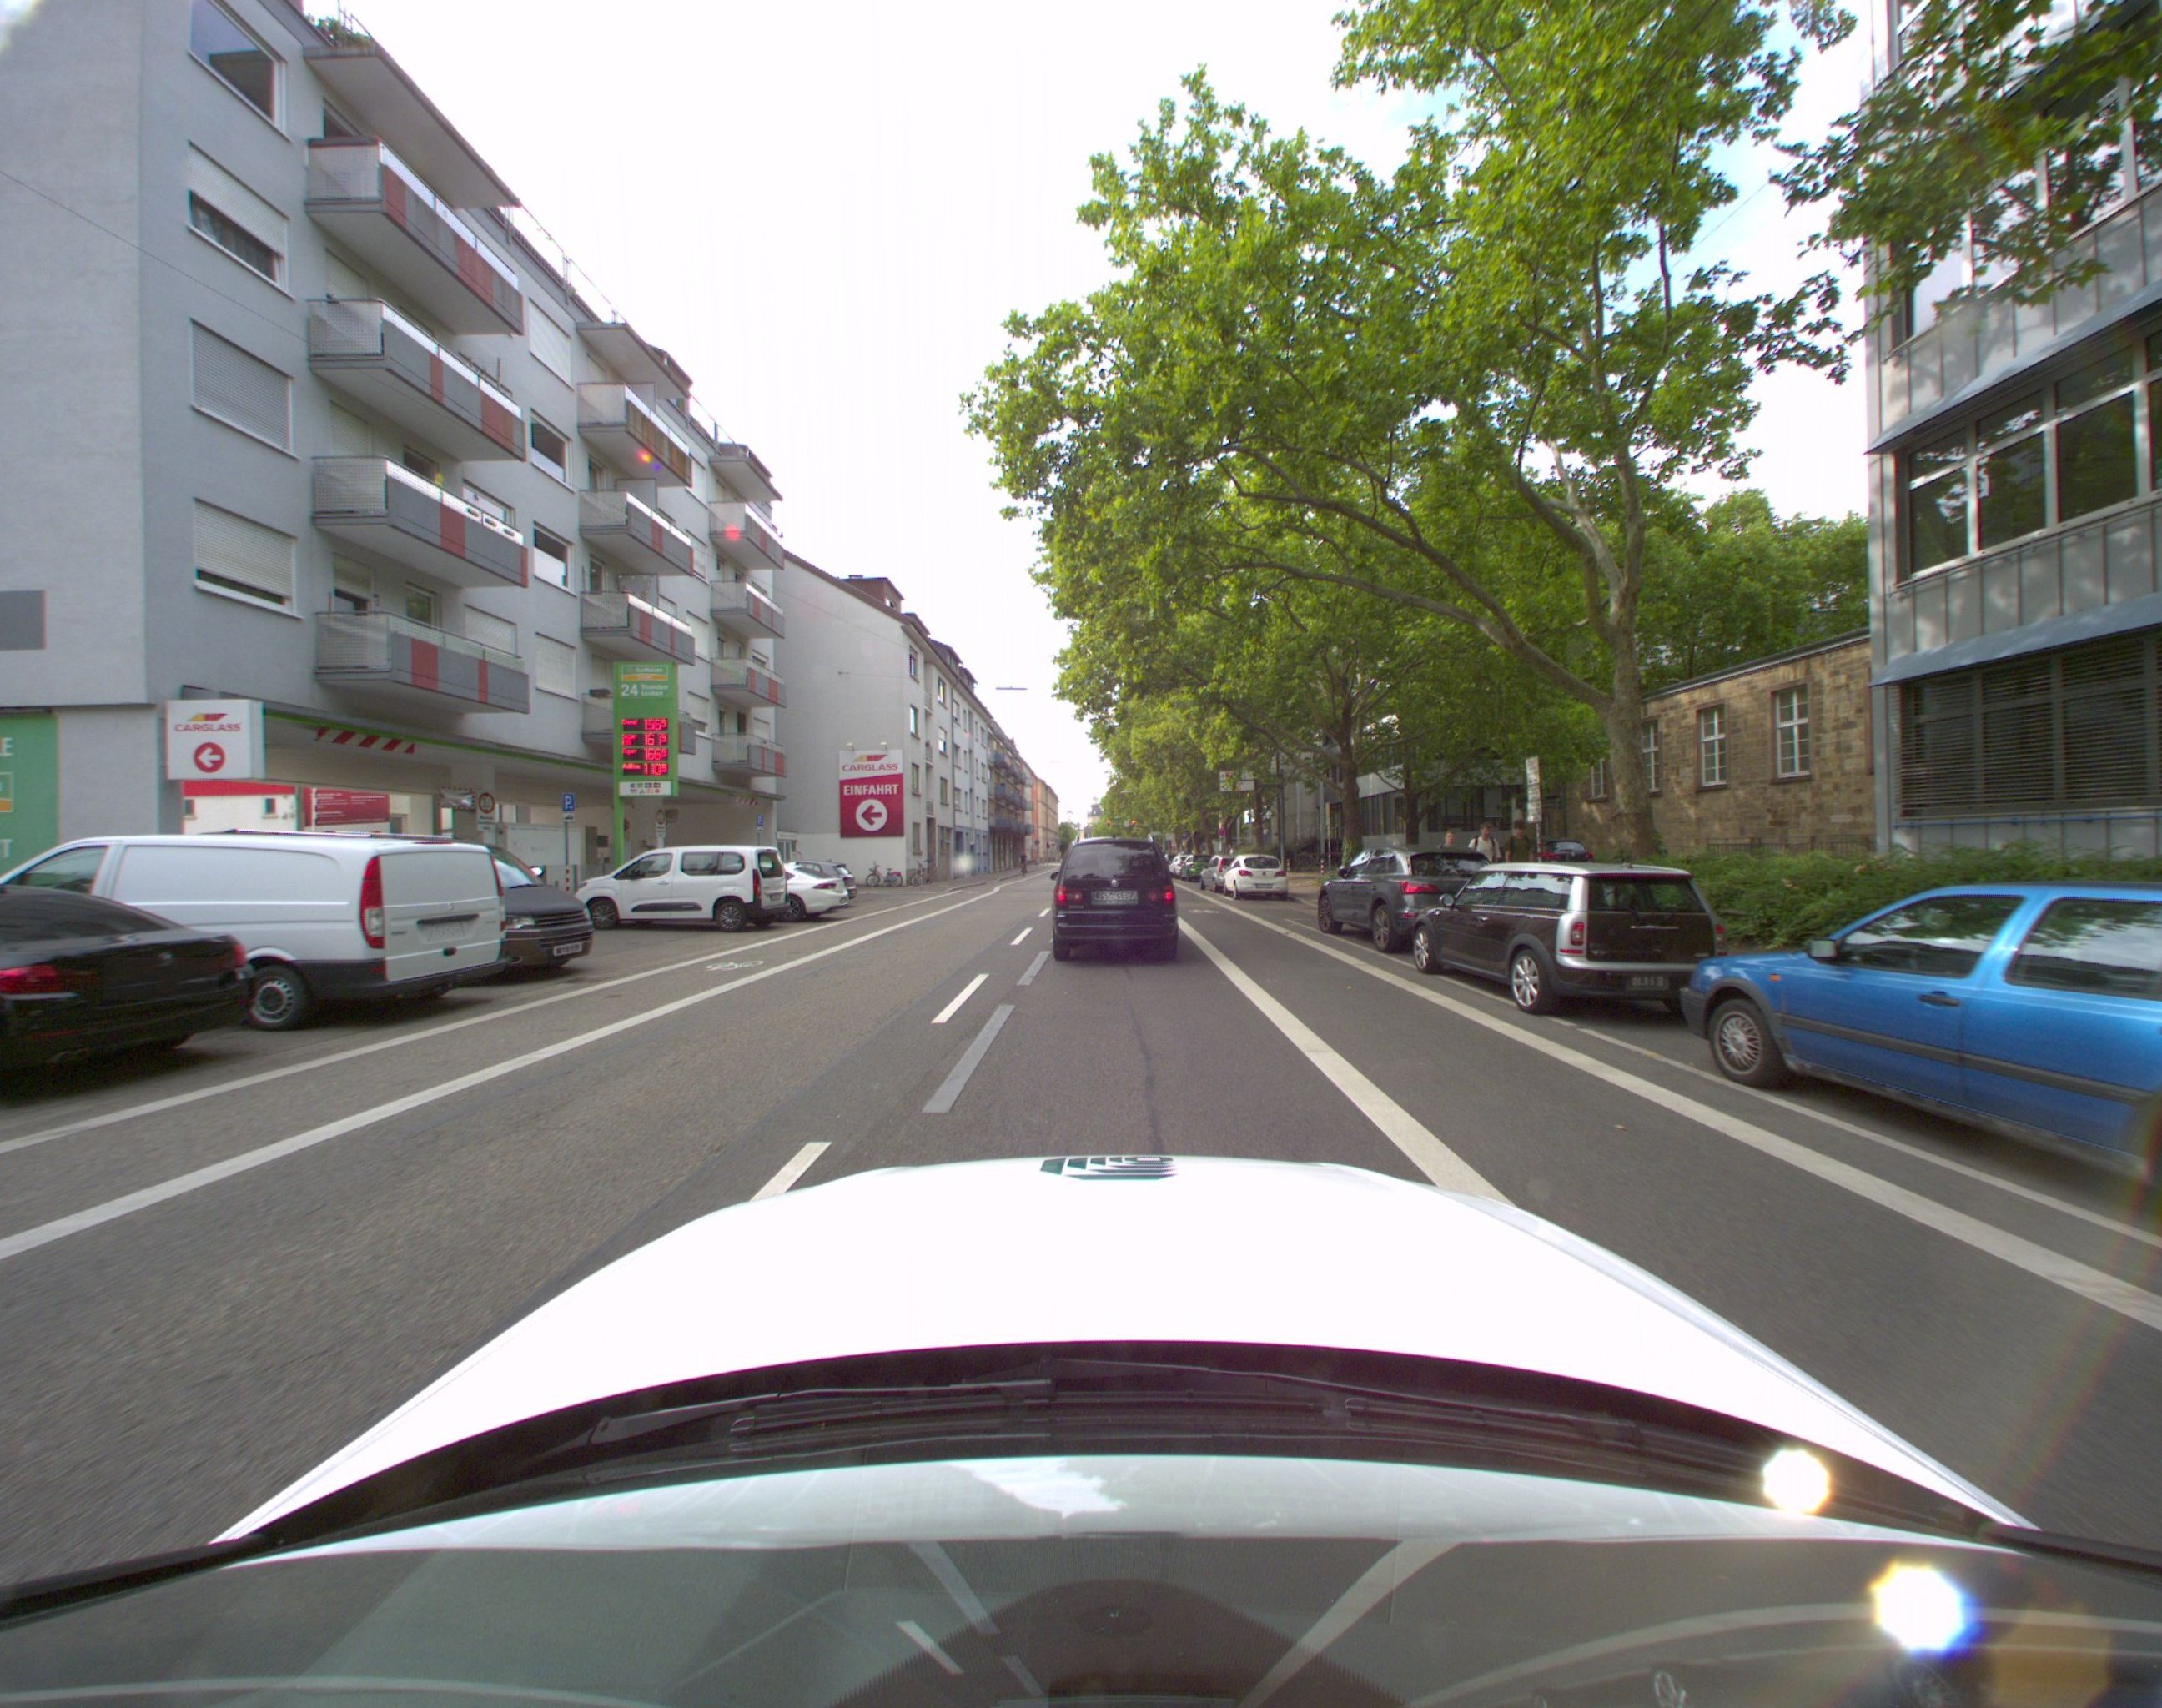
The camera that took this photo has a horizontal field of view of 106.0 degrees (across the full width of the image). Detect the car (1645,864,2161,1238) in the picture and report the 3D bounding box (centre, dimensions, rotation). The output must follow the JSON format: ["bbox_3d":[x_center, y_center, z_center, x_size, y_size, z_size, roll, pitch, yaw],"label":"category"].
[{"bbox_3d":[5.050,0.803,4.234,1.615,1.386,4.003,1,0,3],"label":"car"}]

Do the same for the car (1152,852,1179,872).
[{"bbox_3d":[6.543,0.567,63.485,1.637,1.487,3.510,1,0,-2],"label":"car"}]

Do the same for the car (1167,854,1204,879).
[{"bbox_3d":[6.199,0.700,48.453,1.637,1.395,3.510,1,0,-2],"label":"car"}]

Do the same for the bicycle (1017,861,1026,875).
[{"bbox_3d":[-4.553,1.111,62.483,0.629,1.034,2.014,0,-2,-1],"label":"bicycle"}]

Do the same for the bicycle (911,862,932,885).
[{"bbox_3d":[-7.674,0.917,39.213,0.629,1.034,2.014,0,0,-2],"label":"bicycle"}]

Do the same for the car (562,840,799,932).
[{"bbox_3d":[-8.750,0.671,18.052,4.293,1.870,1.824,1,0,0],"label":"car"}]

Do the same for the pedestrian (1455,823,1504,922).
[{"bbox_3d":[7.550,0.339,15.448,0.585,1.838,0.693,0,1,3],"label":"pedestrian"}]

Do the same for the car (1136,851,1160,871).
[{"bbox_3d":[5.980,0.580,72.970,1.738,1.689,3.802,-1,0,-1],"label":"car"}]

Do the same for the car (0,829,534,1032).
[{"bbox_3d":[-8.875,0.717,8.818,4.508,1.878,2.048,1,0,2],"label":"car"}]

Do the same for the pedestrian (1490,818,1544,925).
[{"bbox_3d":[8.193,0.315,15.335,0.640,1.975,0.693,0,1,2],"label":"pedestrian"}]

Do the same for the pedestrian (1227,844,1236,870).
[{"bbox_3d":[9.970,0.189,53.908,0.508,1.680,0.516,-1,0,2],"label":"pedestrian"}]

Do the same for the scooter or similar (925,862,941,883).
[{"bbox_3d":[-7.612,0.968,41.931,0.630,1.034,2.012,0,-2,-4],"label":"scooter or similar"}]

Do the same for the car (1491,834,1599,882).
[{"bbox_3d":[15.258,0.075,27.016,1.466,1.458,3.919,0,2,2],"label":"car"}]

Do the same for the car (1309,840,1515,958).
[{"bbox_3d":[5.343,0.631,13.839,1.663,1.640,4.503,1,0,0],"label":"car"}]

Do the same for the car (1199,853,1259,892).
[{"bbox_3d":[5.771,0.689,32.023,1.637,1.413,3.413,1,0,-2],"label":"car"}]

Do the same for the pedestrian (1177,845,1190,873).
[{"bbox_3d":[6.729,0.325,53.505,0.764,1.831,0.516,-1,0,2],"label":"pedestrian"}]

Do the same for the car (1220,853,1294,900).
[{"bbox_3d":[5.817,0.694,27.444,1.669,1.394,4.463,1,0,2],"label":"car"}]

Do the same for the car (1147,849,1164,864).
[{"bbox_3d":[8.887,0.296,97.596,1.781,1.772,4.002,-1,0,2],"label":"car"}]

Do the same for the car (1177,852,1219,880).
[{"bbox_3d":[6.214,0.611,43.407,1.637,1.413,3.413,1,0,-2],"label":"car"}]

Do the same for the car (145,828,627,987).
[{"bbox_3d":[-9.328,0.670,11.267,4.899,1.903,2.000,1,0,1],"label":"car"}]

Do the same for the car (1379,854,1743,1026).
[{"bbox_3d":[4.975,0.744,9.252,1.624,1.470,4.318,-1,0,1],"label":"car"}]

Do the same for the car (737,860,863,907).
[{"bbox_3d":[-8.647,0.886,25.210,3.332,1.402,1.503,0,0,-1],"label":"car"}]

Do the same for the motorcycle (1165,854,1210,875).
[{"bbox_3d":[6.822,0.678,52.197,2.827,1.324,0.765,-1,0,1],"label":"motorcycle"}]

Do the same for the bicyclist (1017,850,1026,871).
[{"bbox_3d":[-4.566,0.495,62.686,0.651,1.611,0.656,0,-3,-1],"label":"bicyclist"}]

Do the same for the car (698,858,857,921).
[{"bbox_3d":[-7.523,0.867,20.394,3.332,1.497,1.596,0,0,-1],"label":"car"}]

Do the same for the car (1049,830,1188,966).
[{"bbox_3d":[0.460,0.575,12.548,1.807,1.766,3.736,0,0,-1],"label":"car"}]

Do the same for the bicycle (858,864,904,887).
[{"bbox_3d":[-9.217,0.987,37.537,2.000,1.034,0.410,0,1,2],"label":"bicycle"}]

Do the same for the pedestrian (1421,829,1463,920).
[{"bbox_3d":[6.902,0.382,15.586,0.585,1.701,0.508,0,1,2],"label":"pedestrian"}]

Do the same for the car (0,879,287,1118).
[{"bbox_3d":[-8.729,0.961,6.180,3.669,1.444,1.754,1,1,1],"label":"car"}]
